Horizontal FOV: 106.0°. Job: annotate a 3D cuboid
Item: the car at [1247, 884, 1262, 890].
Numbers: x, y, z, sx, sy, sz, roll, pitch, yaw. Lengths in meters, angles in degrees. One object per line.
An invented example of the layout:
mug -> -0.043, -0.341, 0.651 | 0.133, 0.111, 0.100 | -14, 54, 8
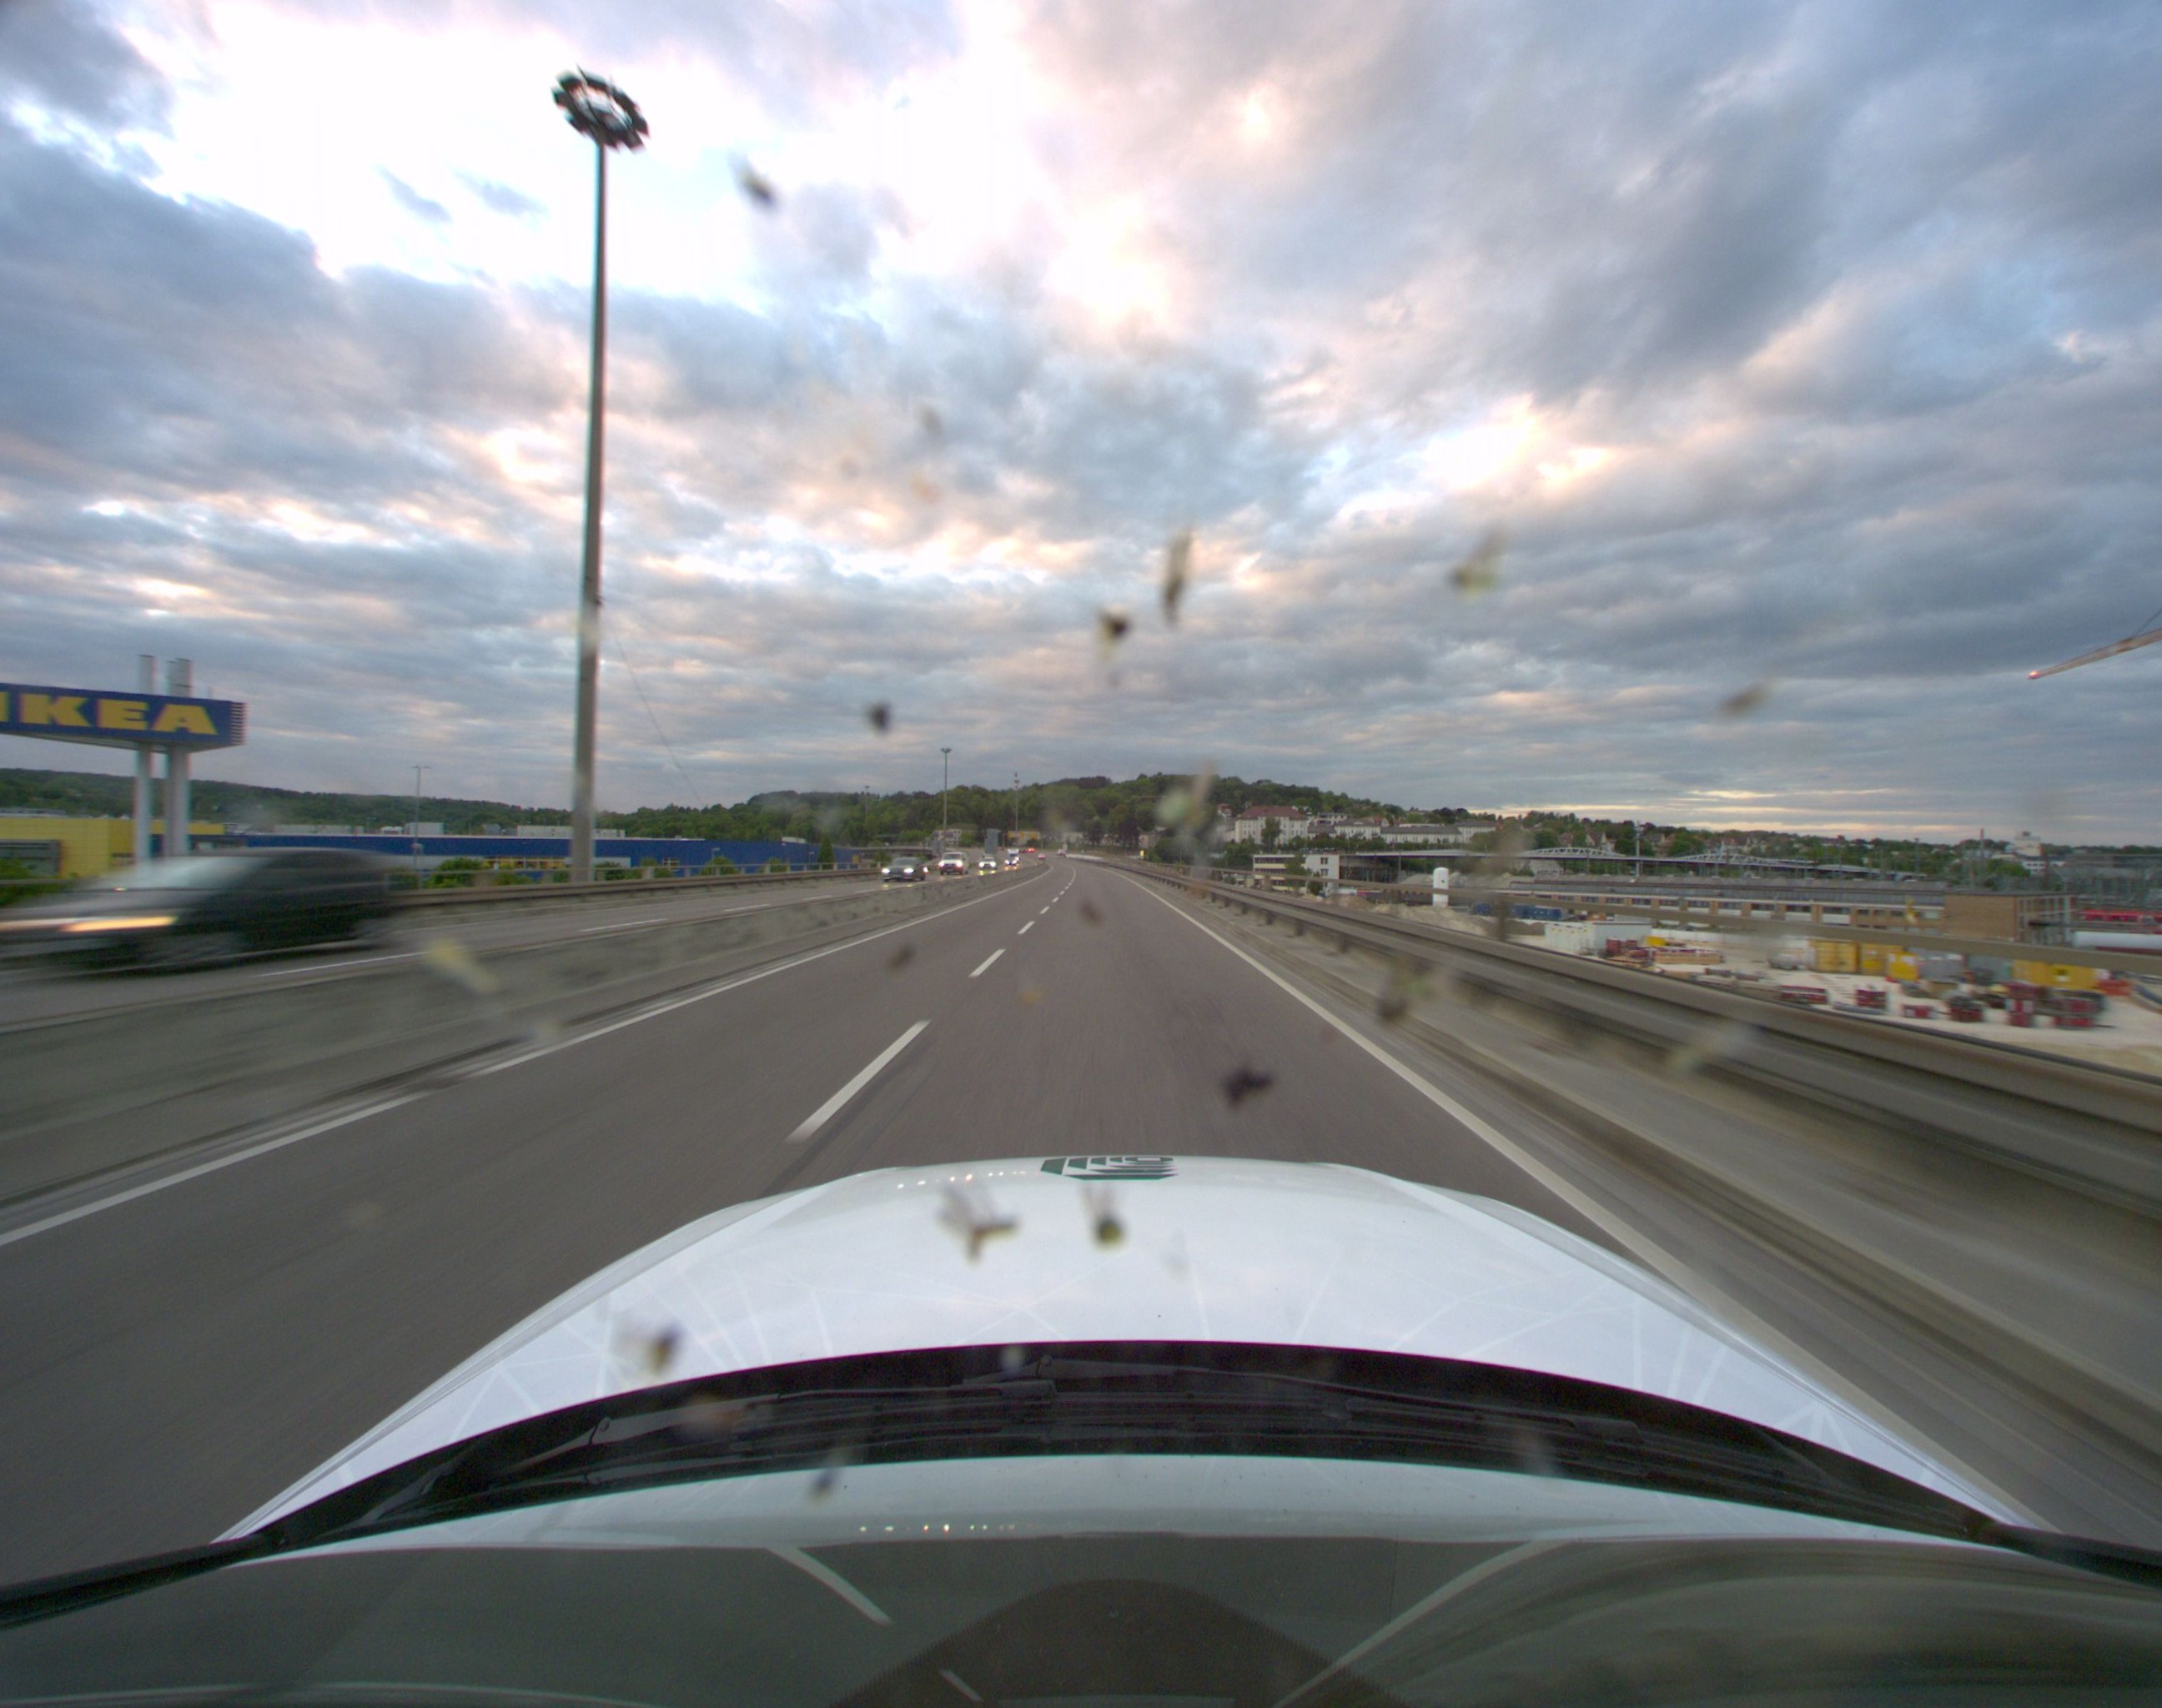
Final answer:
car -> 49.526, 9.474, 232.518 | 4.017, 1.565, 1.812 | 4, 1, -36

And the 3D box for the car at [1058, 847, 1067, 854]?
car -> -5.903, -1.030, 257.221 | 1.997, 2.013, 4.087 | 0, 2, -16

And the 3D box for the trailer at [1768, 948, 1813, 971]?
trailer -> 58.419, 8.670, 67.155 | 1.762, 1.241, 4.277 | 1, 0, 26

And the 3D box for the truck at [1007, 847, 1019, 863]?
truck -> -14.824, 0.221, 177.824 | 2.529, 3.297, 7.436 | 0, -1, -4

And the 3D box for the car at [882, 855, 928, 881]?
car -> -10.795, 0.835, 50.298 | 1.822, 1.474, 4.900 | 0, 1, 0

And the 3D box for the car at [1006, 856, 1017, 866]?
car -> -11.293, 1.145, 132.131 | 1.624, 1.441, 3.833 | 0, 1, -2

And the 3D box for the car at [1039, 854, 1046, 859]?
car -> -10.532, 0.631, 222.571 | 1.629, 1.388, 3.991 | -1, 1, -6

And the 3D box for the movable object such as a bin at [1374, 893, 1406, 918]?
movable object such as a bin -> 60.682, 10.083, 159.902 | 4.952, 4.310, 2.769 | 6, -1, -17

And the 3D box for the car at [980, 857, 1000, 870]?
car -> -10.799, 1.122, 96.922 | 1.825, 1.503, 4.815 | -1, 0, 0

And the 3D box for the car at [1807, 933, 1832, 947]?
car -> 112.139, 13.054, 123.693 | 4.014, 1.714, 1.852 | 6, 0, -34

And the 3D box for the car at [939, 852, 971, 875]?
car -> -10.896, 0.840, 70.644 | 1.895, 1.900, 5.459 | -1, 0, 0

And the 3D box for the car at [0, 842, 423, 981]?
car -> -11.744, 0.678, 11.427 | 1.650, 1.594, 4.044 | 0, -1, 2
